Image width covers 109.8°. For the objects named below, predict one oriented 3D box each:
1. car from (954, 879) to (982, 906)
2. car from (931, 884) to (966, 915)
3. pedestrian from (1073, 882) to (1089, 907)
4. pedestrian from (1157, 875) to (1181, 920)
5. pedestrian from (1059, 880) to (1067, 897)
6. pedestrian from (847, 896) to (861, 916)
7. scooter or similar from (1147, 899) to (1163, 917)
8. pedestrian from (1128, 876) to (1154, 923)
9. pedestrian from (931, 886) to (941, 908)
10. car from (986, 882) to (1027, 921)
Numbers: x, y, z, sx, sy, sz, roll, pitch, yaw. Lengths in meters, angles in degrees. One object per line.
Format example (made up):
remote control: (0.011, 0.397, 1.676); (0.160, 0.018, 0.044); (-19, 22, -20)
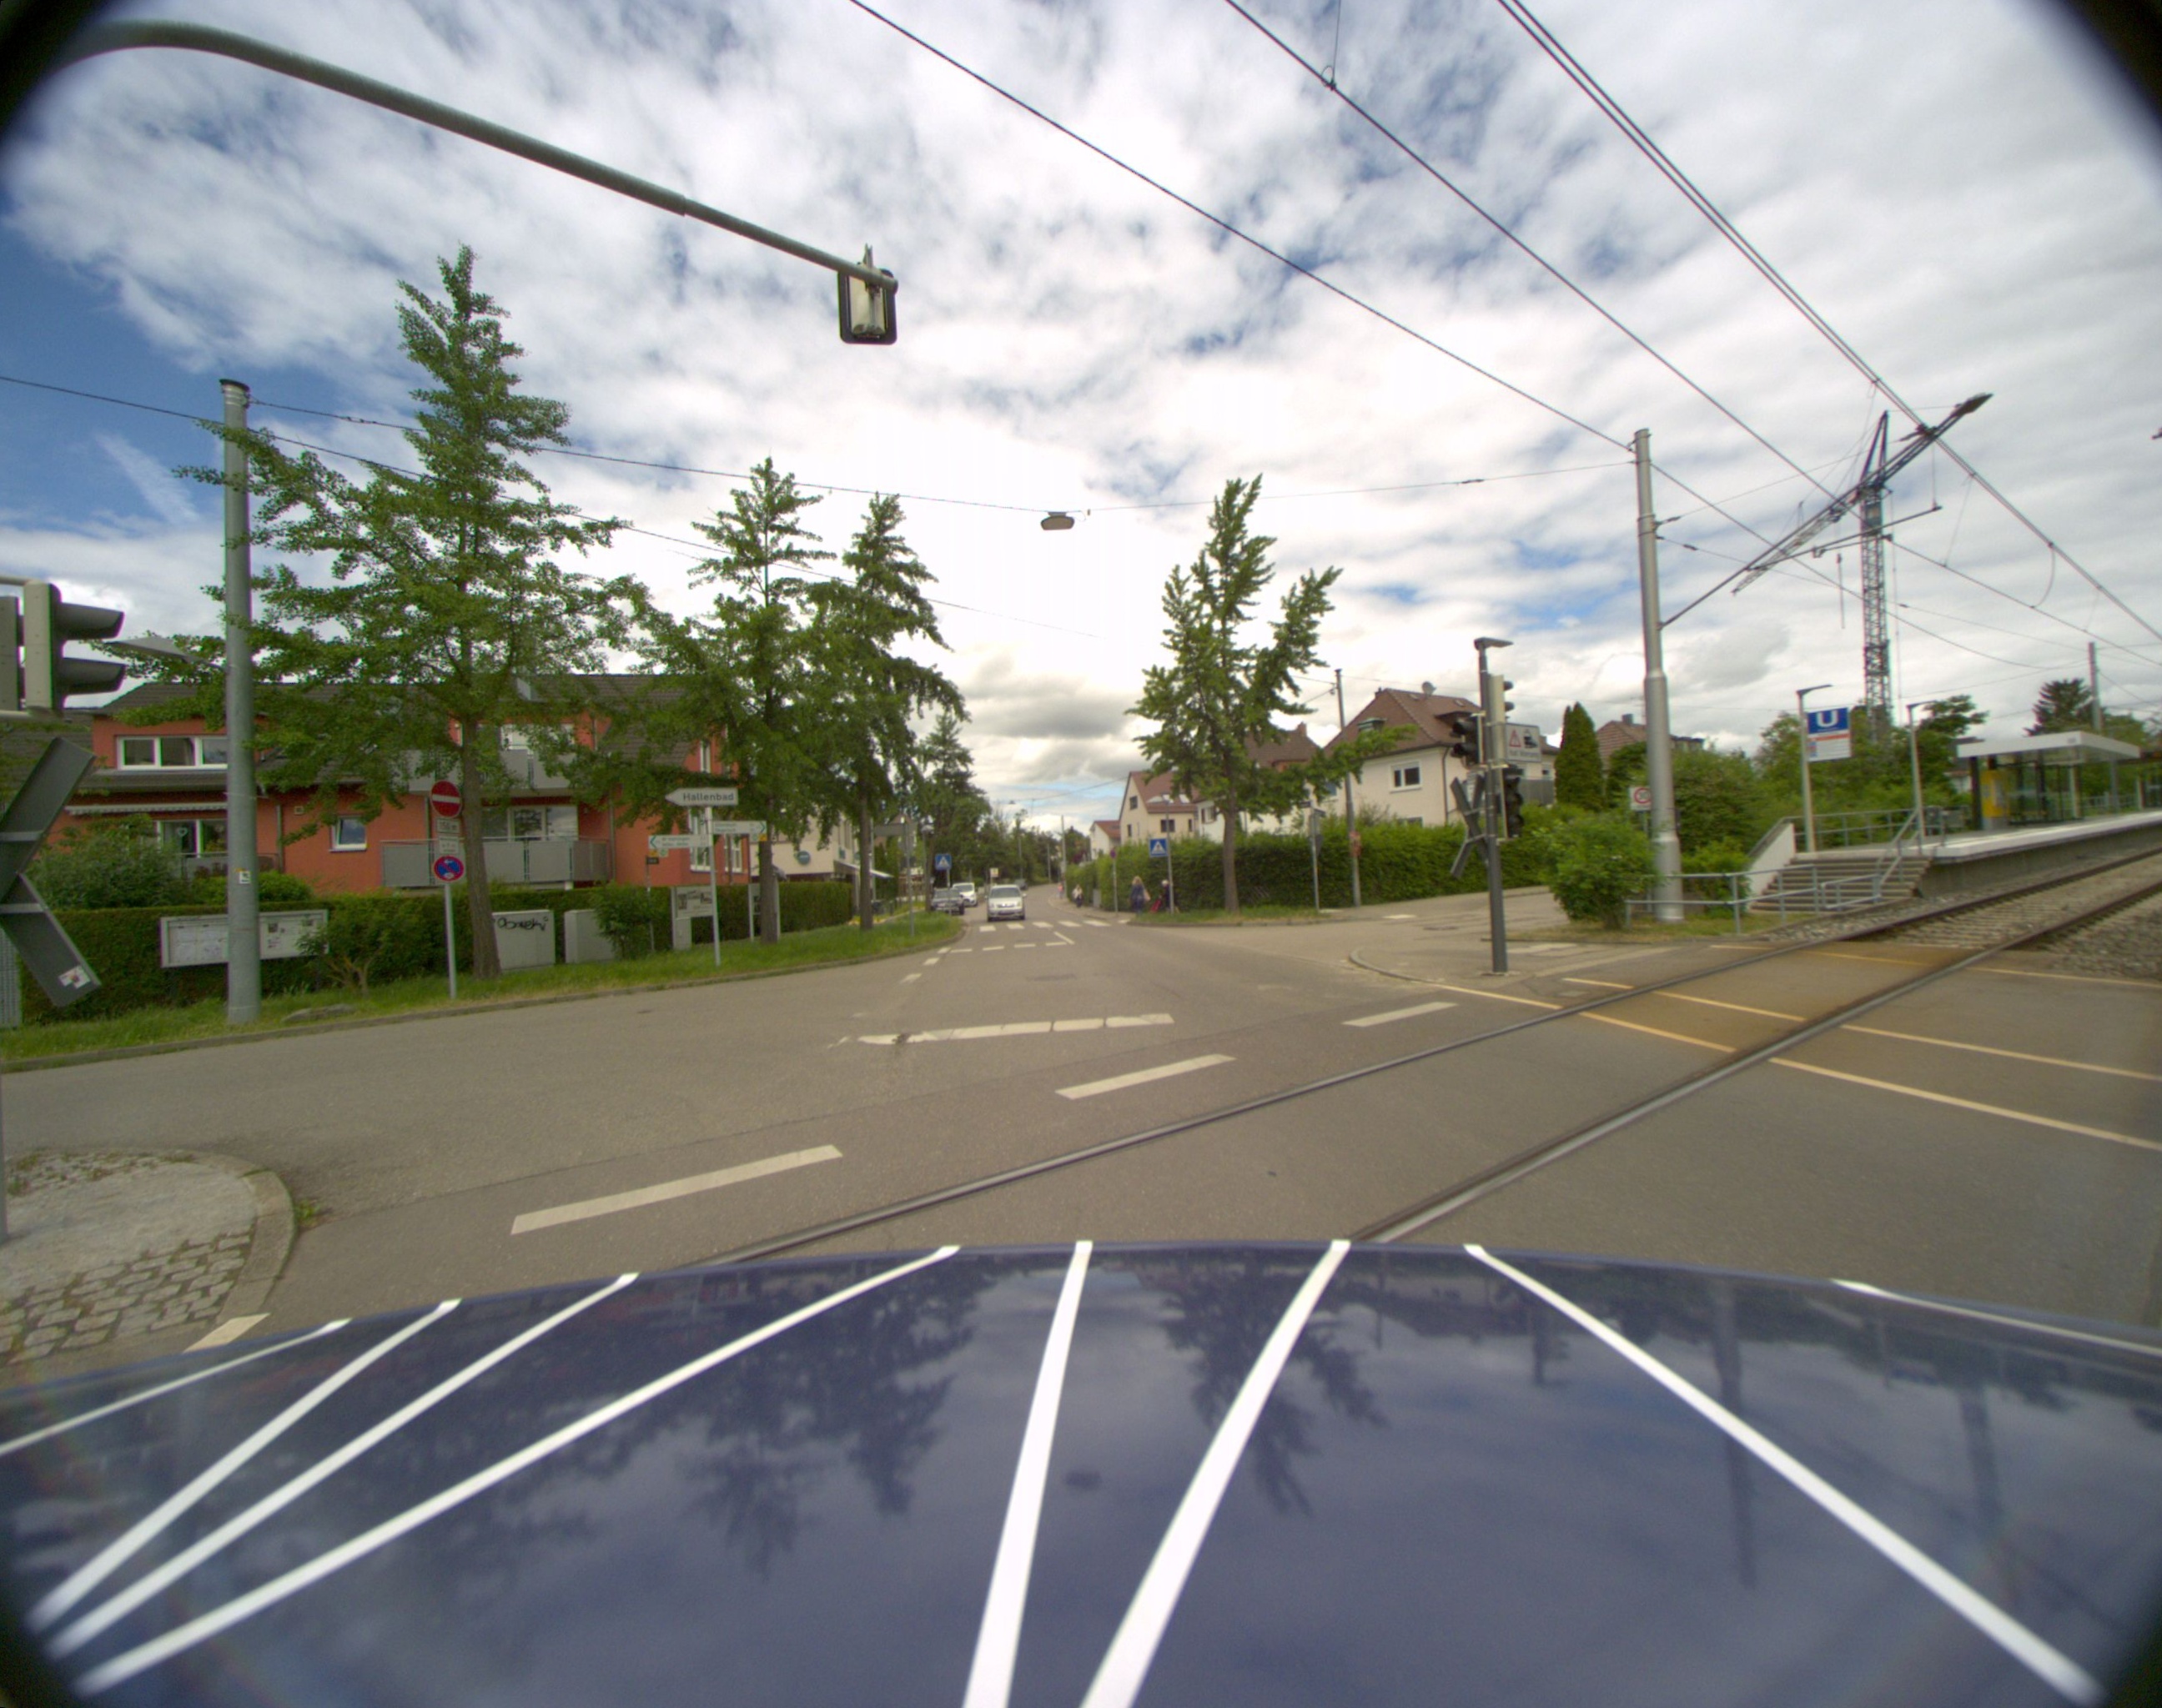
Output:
car: (-9.284, 3.114, 62.574); (2.000, 2.001, 5.565); (-4, -2, -7)
car: (-7.813, 2.675, 45.049); (1.853, 1.626, 4.464); (-3, -2, -9)
pedestrian: (-0.015, 2.478, 46.618); (0.750, 1.521, 0.544); (-4, -1, -19)
pedestrian: (3.266, 1.614, 28.214); (0.597, 1.610, 0.679); (-5, -1, 24)
pedestrian: (-1.717, 3.272, 72.989); (0.619, 1.589, 0.608); (-2, -1, -8)
pedestrian: (-14.118, 3.231, 47.290); (0.753, 1.230, 0.691); (-2, -2, -12)
scooter or similar: (2.768, 2.021, 28.273); (0.399, 0.606, 0.489); (-6, -1, 24)
pedestrian: (2.175, 1.628, 27.360); (0.597, 1.610, 0.679); (-5, -1, 24)
pedestrian: (-11.099, 3.260, 58.339); (0.678, 1.658, 0.659); (-1, -1, -6)
car: (-3.434, 2.129, 34.814); (1.727, 1.558, 3.926); (-3, -2, -6)
